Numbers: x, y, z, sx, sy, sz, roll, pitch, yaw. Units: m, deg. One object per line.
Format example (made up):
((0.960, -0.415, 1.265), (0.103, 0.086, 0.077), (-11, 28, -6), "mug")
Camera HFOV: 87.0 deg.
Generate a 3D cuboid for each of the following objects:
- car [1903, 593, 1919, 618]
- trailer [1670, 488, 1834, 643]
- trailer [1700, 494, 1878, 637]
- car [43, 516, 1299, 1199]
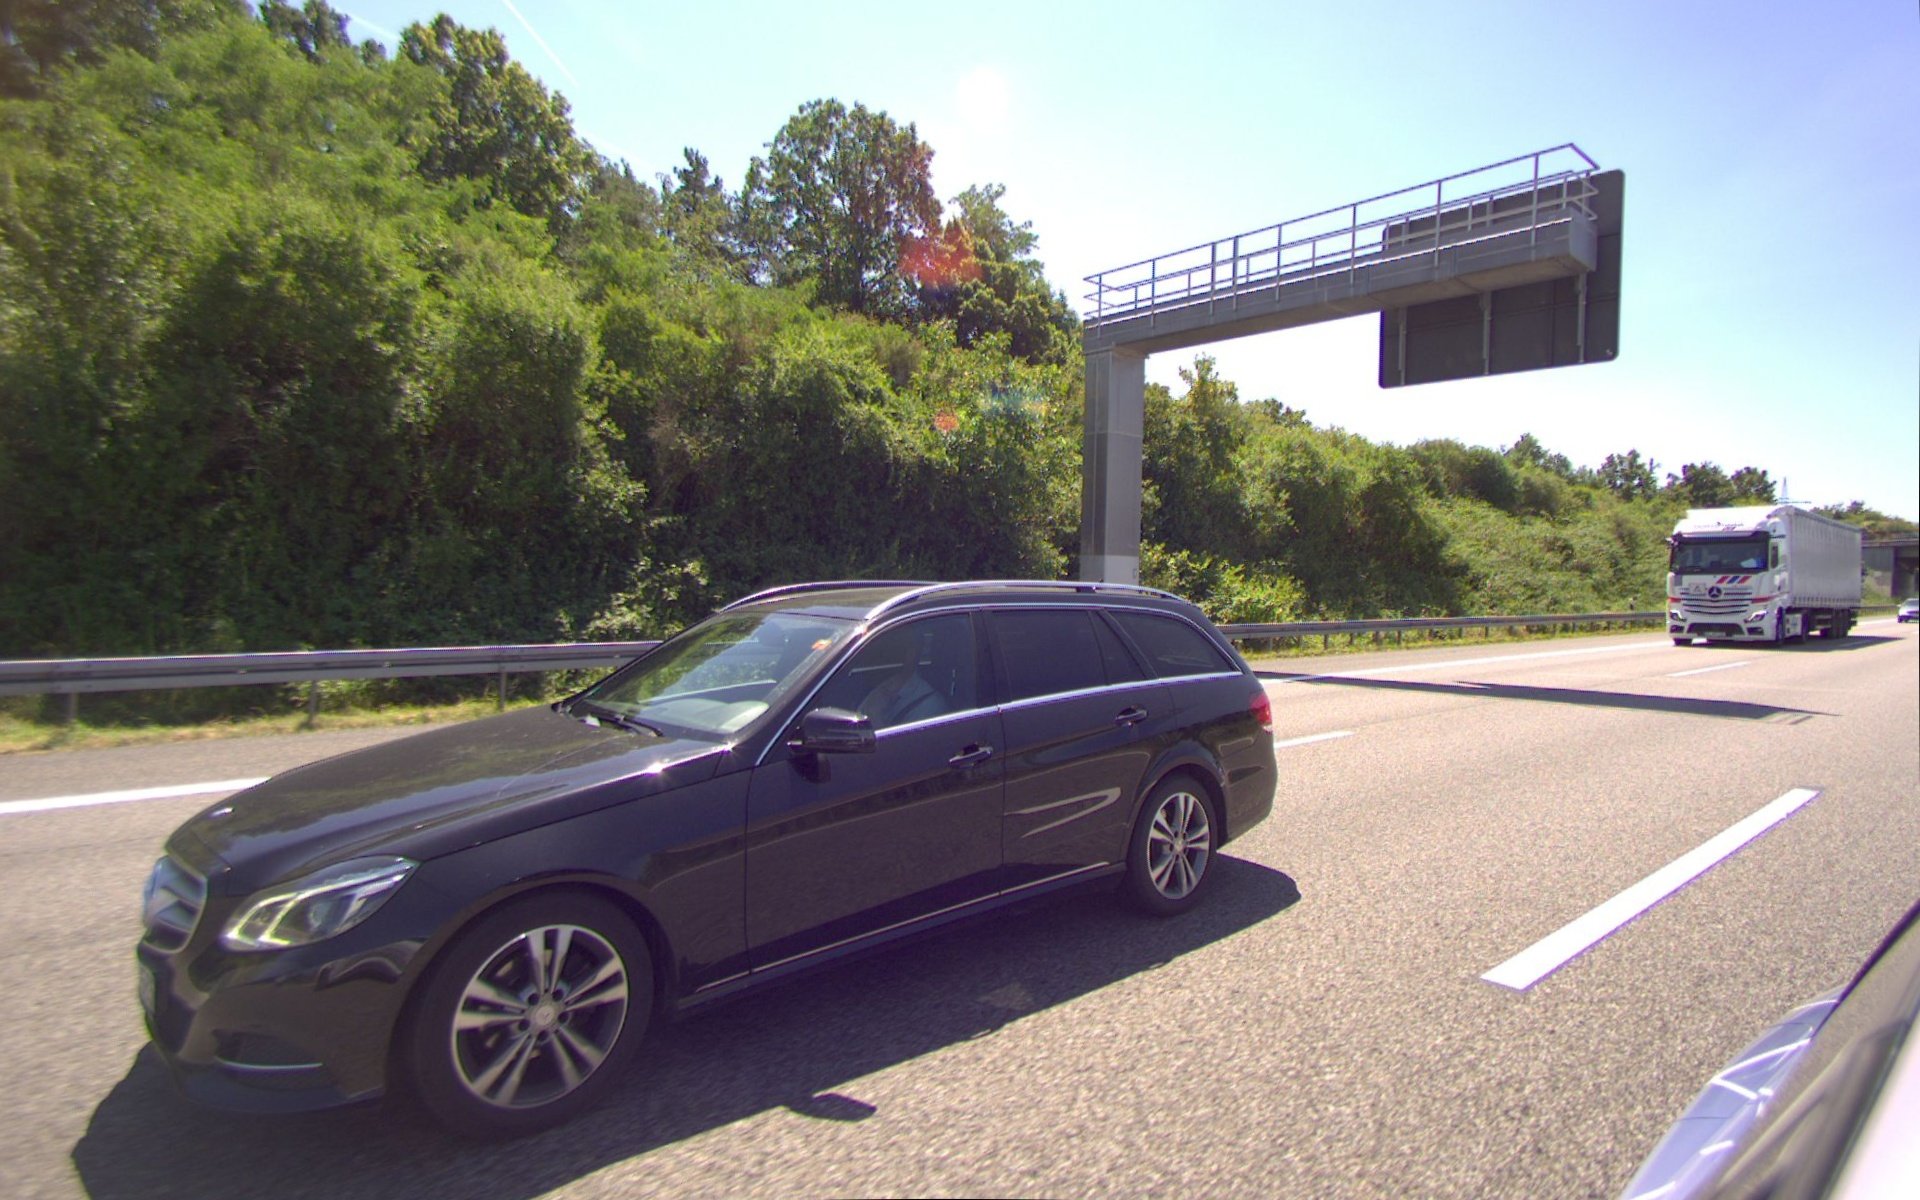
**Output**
((56.456, 0.329, 58.955), (4.480, 1.429, 1.838), (0, 0, -42), "car")
((23.842, -0.974, 30.352), (6.672, 4.154, 2.717), (0, 1, -42), "trailer")
((28.678, -1.056, 34.674), (12.962, 4.154, 2.733), (0, 1, -42), "trailer")
((-0.664, 0.593, 4.260), (4.654, 1.524, 1.844), (0, 0, -41), "car")
